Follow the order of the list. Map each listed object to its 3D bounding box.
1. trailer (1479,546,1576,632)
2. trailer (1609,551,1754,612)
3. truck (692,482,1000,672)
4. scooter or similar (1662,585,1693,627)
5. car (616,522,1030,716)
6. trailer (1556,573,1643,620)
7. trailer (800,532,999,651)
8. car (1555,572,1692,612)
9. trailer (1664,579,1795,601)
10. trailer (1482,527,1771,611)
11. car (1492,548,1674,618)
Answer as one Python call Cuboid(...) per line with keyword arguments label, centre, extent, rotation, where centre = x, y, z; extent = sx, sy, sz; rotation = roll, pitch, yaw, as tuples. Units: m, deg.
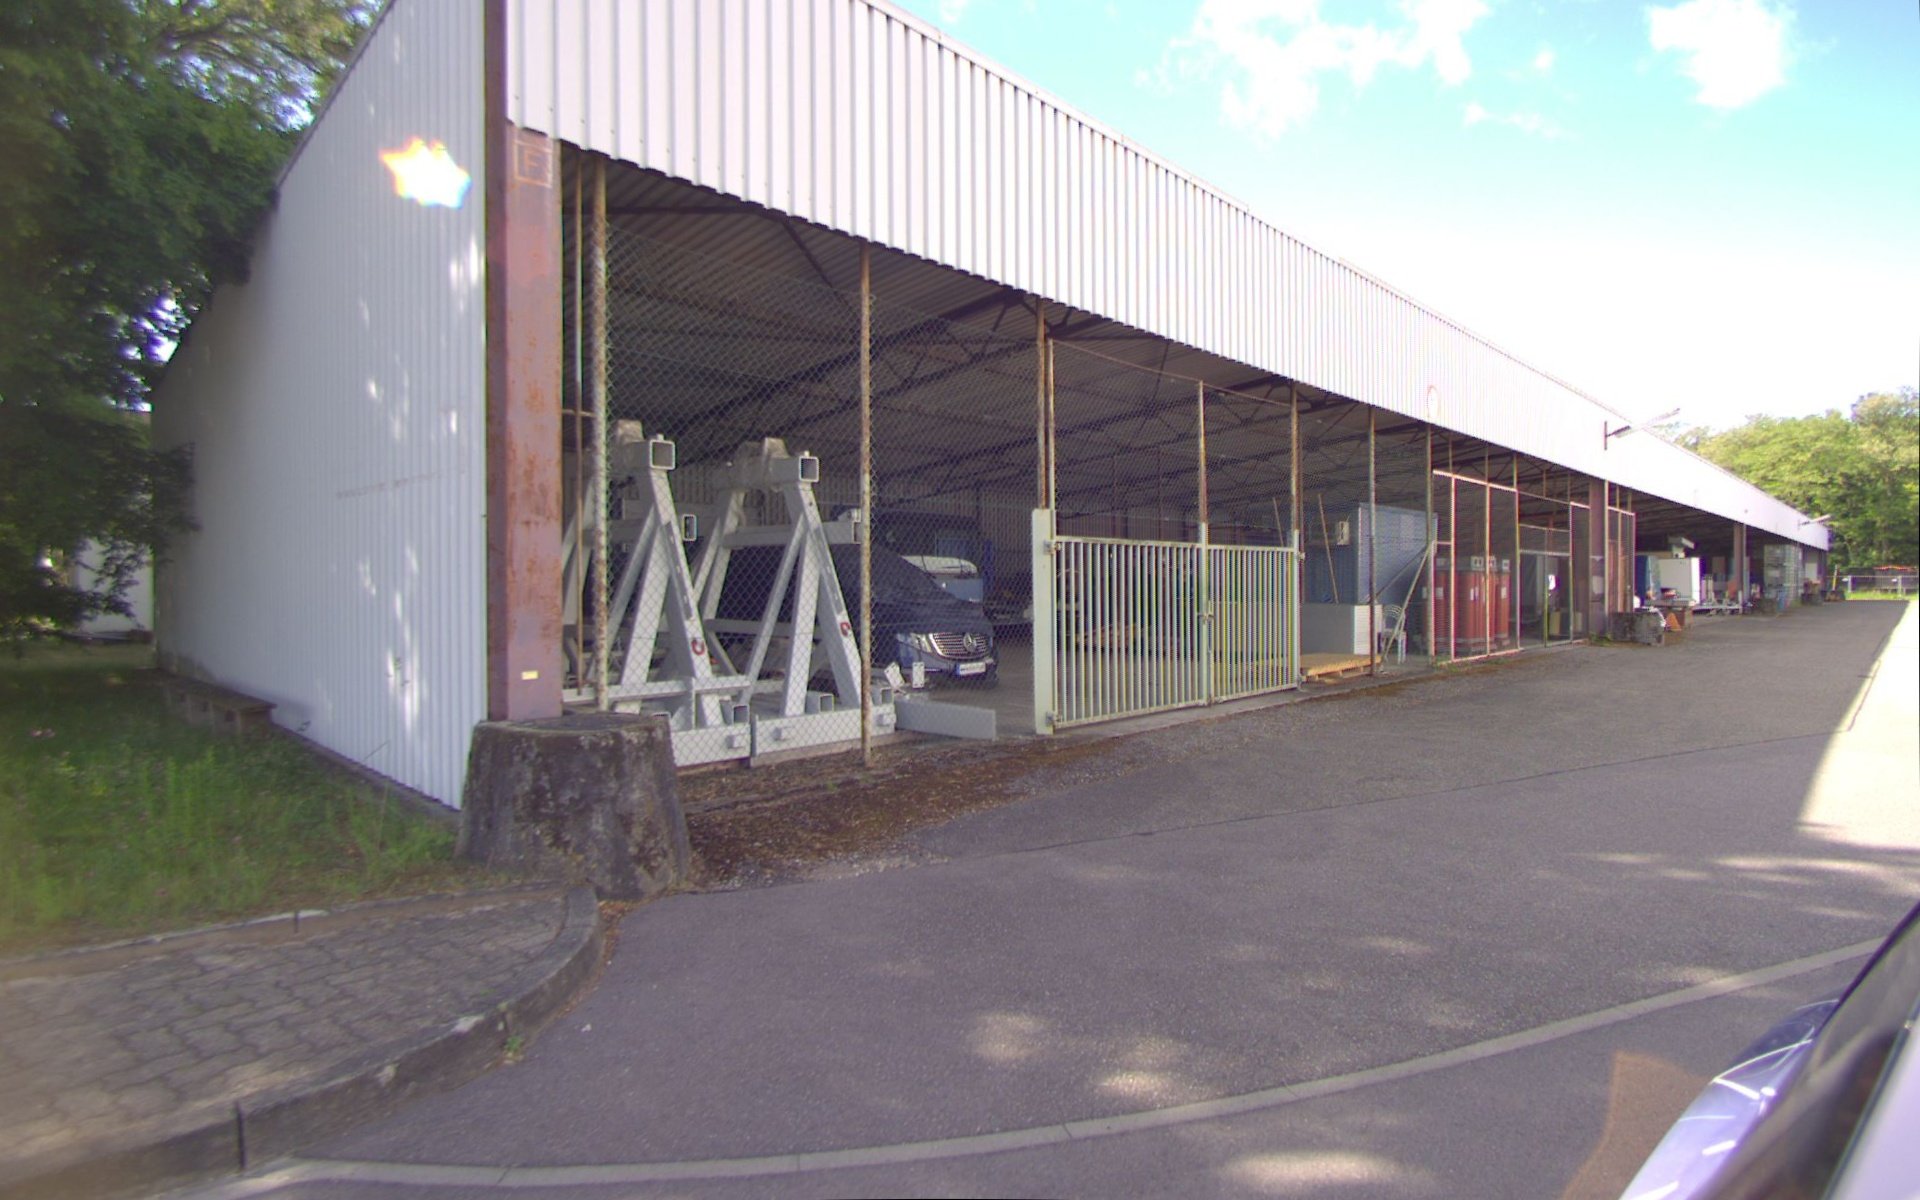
Cuboid(label="trailer", centre=(15.321, -0.344, 27.264), extent=(1.576, 2.169, 3.469), rotation=(2, 3, 41))
Cuboid(label="trailer", centre=(29.222, -0.800, 41.112), extent=(1.661, 2.364, 4.545), rotation=(-1, 2, -44))
Cuboid(label="truck", centre=(-2.130, -0.403, 17.394), extent=(5.568, 2.740, 2.328), rotation=(1, 2, 45))
Cuboid(label="scooter or similar", centre=(20.740, 0.154, 29.238), extent=(0.520, 1.148, 1.568), rotation=(1, 2, 44))
Cuboid(label="car", centre=(-1.874, 0.144, 12.654), extent=(5.157, 1.942, 2.246), rotation=(0, 1, 40))
Cuboid(label="trailer", centre=(21.062, -0.146, 33.335), extent=(1.614, 1.480, 2.097), rotation=(-2, 2, -42))
Cuboid(label="trailer", centre=(-1.268, -0.202, 20.460), extent=(2.423, 2.164, 3.408), rotation=(-1, 2, -43))
Cuboid(label="car", centre=(26.391, -0.367, 40.336), extent=(4.341, 1.451, 1.837), rotation=(2, 3, 42))
Cuboid(label="trailer", centre=(43.327, -0.583, 57.096), extent=(5.734, 1.147, 1.978), rotation=(1, 2, 44))
Cuboid(label="trailer", centre=(29.079, -1.437, 44.762), extent=(2.632, 3.336, 10.301), rotation=(-1, 3, -44))
Cuboid(label="car", centre=(22.043, -0.629, 35.973), extent=(5.217, 2.326, 2.051), rotation=(1, 2, 44))
